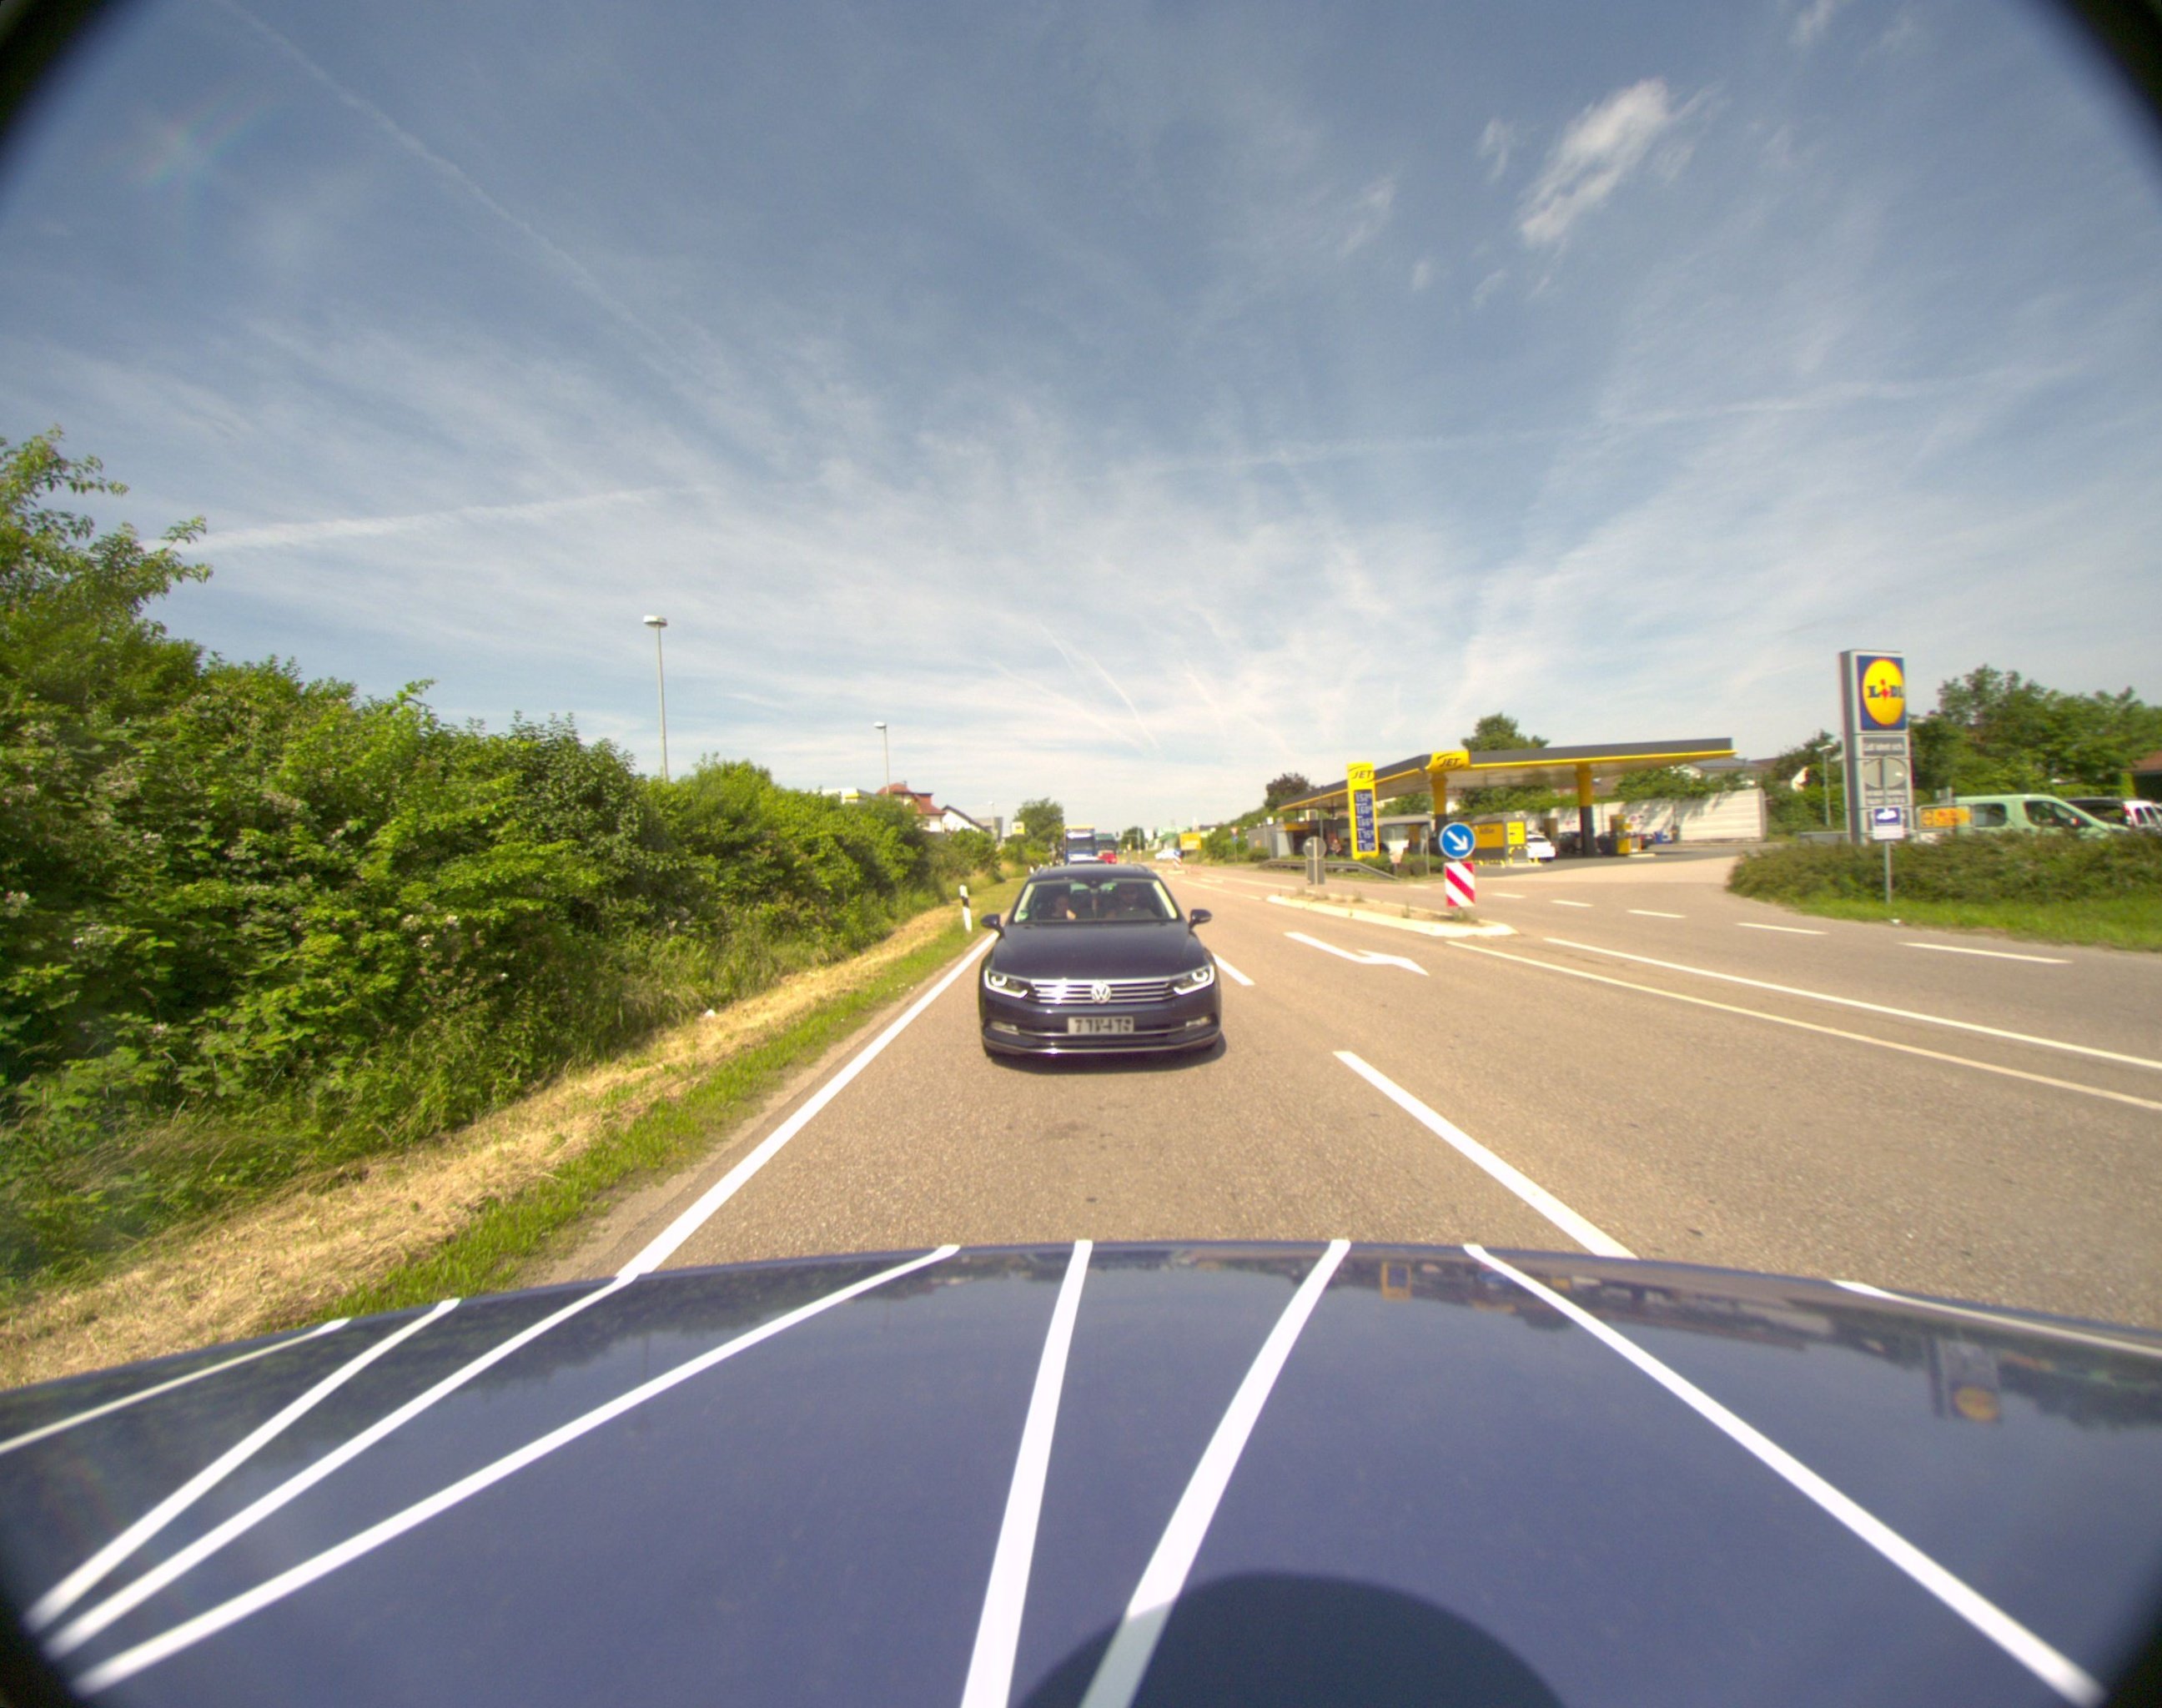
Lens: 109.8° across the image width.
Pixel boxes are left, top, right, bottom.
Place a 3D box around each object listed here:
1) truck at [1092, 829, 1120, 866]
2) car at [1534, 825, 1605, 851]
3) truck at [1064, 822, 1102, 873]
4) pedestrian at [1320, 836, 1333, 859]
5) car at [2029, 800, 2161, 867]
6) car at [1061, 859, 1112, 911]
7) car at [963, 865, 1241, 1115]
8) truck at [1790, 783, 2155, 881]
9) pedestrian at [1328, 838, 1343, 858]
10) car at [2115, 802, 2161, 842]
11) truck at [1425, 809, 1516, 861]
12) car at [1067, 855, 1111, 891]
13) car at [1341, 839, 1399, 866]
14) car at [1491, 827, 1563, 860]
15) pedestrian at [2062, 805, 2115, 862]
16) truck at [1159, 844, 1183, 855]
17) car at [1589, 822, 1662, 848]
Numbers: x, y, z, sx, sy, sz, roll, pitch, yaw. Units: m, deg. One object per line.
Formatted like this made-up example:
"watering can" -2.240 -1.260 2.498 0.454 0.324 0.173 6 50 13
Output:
"truck" 2.838 -0.779 87.482 2.675 3.897 10.048 -3 0 0
"car" 32.227 -1.034 50.204 1.753 1.603 3.873 -2 0 -10
"truck" 0.259 -0.570 67.239 2.855 3.999 12.916 -2 0 1
"pedestrian" 20.791 -0.545 64.335 0.798 1.827 0.640 -3 1 1
"car" 30.715 -0.626 22.695 4.172 1.801 1.877 -3 1 -23
"car" 0.183 0.926 24.427 1.471 1.451 3.797 -2 0 1
"car" 0.175 0.920 7.394 1.756 1.493 4.925 -2 0 1
"truck" 24.367 -0.481 21.364 6.332 2.361 2.253 -2 0 40
"pedestrian" 17.775 -0.418 53.075 0.914 1.419 0.494 -2 1 7
"car" 44.702 -1.376 30.649 3.999 1.531 1.769 -3 0 -7
"truck" 23.884 -1.132 46.901 2.250 2.906 6.282 -2 1 -1
"car" 0.389 0.828 34.523 1.814 1.466 3.974 -2 0 1
"car" 19.071 -0.082 50.288 1.999 1.696 4.263 -2 0 -3
"car" 24.274 -0.525 41.508 1.736 1.717 4.001 0 0 3
"pedestrian" 28.530 -0.562 21.521 0.705 1.566 0.807 -3 2 -27
"truck" 19.205 -1.000 162.523 4.772 1.997 1.999 -3 1 -2
"car" 36.836 -1.242 51.503 1.753 1.603 3.873 -2 0 -10
